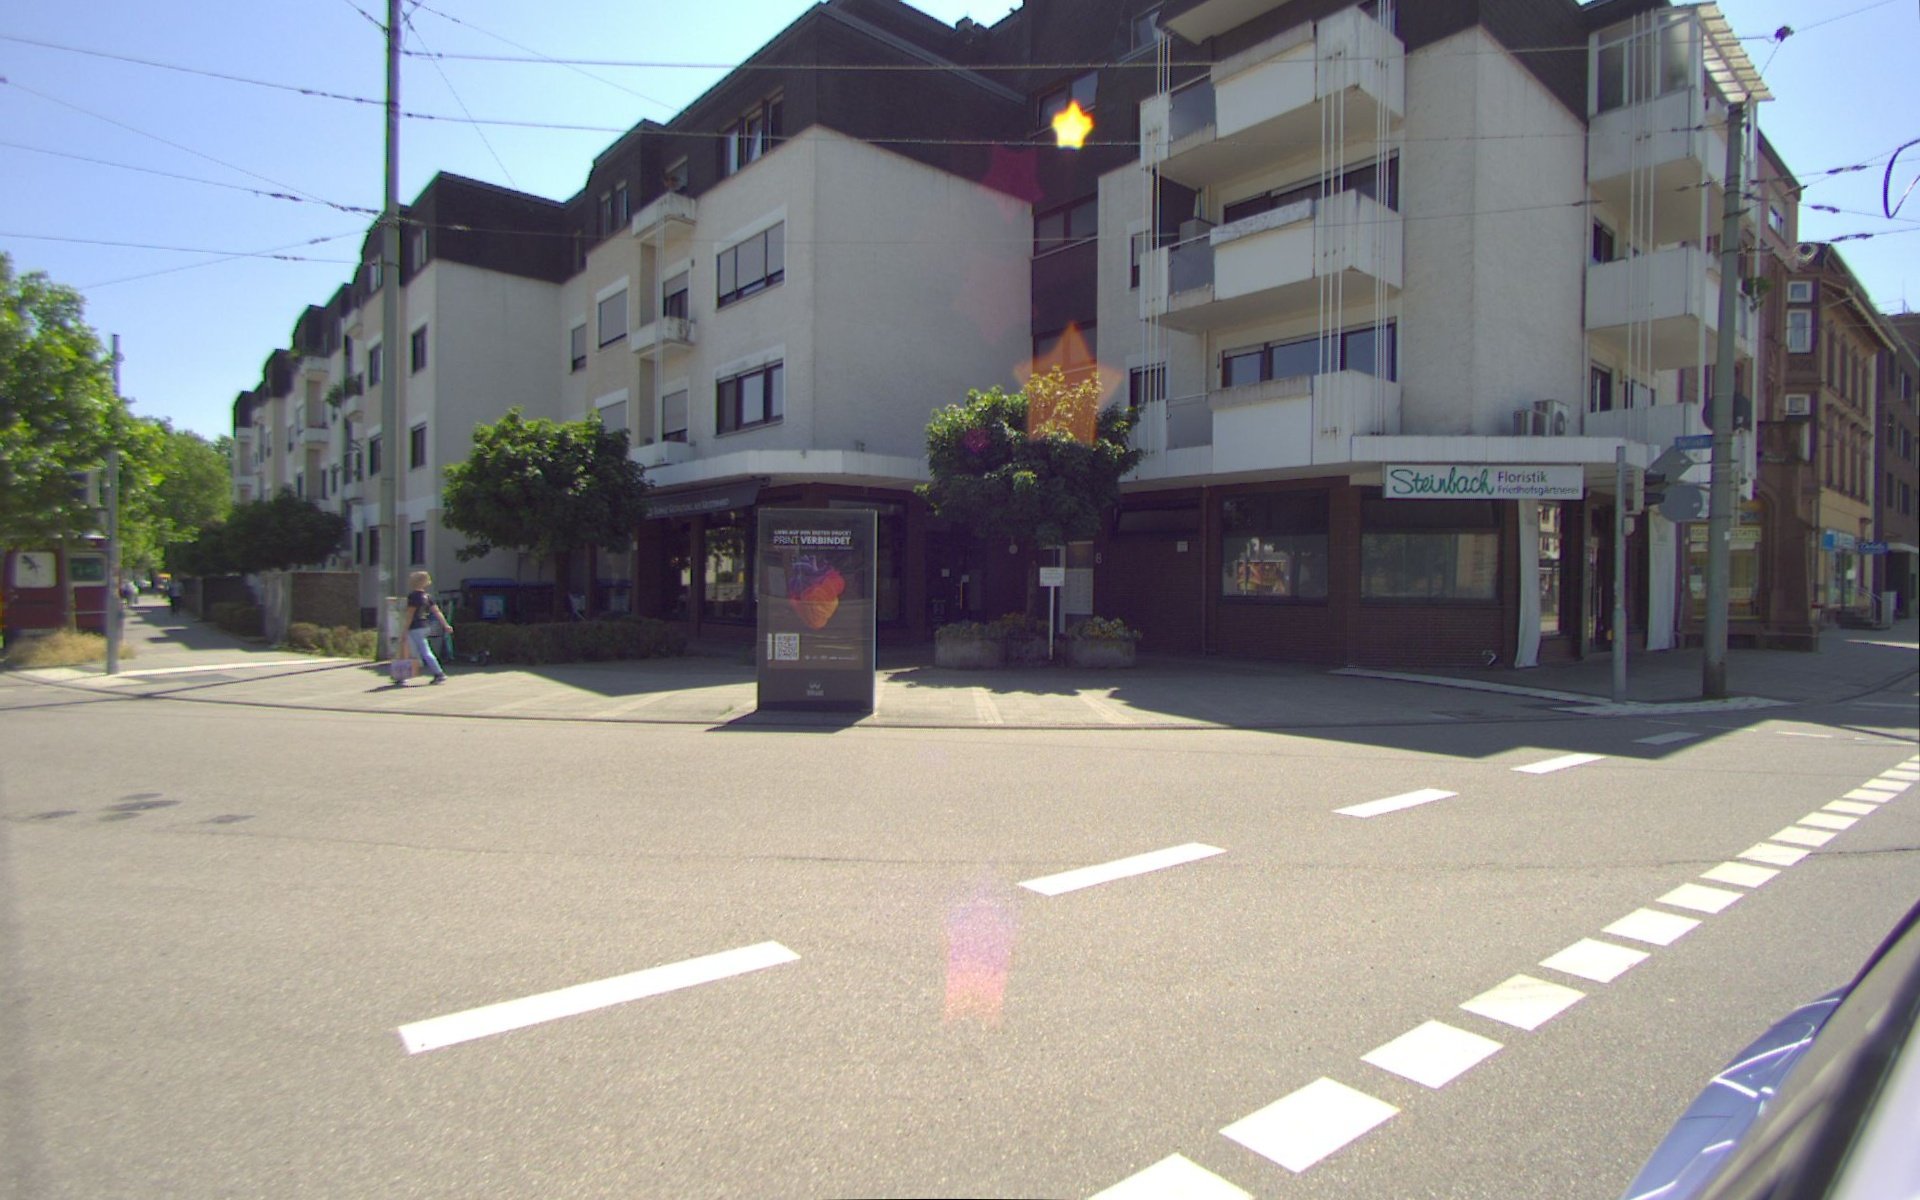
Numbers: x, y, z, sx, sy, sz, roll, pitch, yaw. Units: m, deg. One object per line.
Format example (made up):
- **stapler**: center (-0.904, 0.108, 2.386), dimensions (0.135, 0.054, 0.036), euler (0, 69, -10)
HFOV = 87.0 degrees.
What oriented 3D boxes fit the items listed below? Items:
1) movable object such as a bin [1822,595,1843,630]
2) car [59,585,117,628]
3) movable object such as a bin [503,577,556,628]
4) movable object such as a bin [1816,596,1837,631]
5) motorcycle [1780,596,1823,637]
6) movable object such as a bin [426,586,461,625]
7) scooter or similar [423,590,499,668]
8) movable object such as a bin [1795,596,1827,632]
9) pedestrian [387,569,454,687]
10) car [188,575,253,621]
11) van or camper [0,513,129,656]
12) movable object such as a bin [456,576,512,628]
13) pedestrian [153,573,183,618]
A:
- **movable object such as a bin**: center (27.648, 0.395, 32.067), dimensions (0.646, 1.061, 0.375), euler (0, 3, -41)
- **car**: center (-30.045, 0.202, 34.938), dimensions (1.426, 1.398, 3.359), euler (0, 1, -39)
- **movable object such as a bin**: center (-12.220, 0.059, 28.726), dimensions (1.045, 1.424, 1.320), euler (0, 0, -42)
- **movable object such as a bin**: center (27.136, 0.408, 31.685), dimensions (0.549, 1.061, 0.375), euler (0, 3, -41)
- **motorcycle**: center (24.279, 0.463, 29.189), dimensions (1.845, 1.164, 0.528), euler (0, 0, -37)
- **movable object such as a bin**: center (-14.024, 0.142, 27.483), dimensions (0.701, 1.060, 0.743), euler (0, 0, -42)
- **scooter or similar**: center (-8.082, 0.452, 16.381), dimensions (1.241, 1.228, 0.391), euler (0, 0, 24)
- **movable object such as a bin**: center (26.480, 0.425, 31.477), dimensions (0.549, 1.061, 0.649), euler (0, 3, -41)
- **pedestrian**: center (-7.601, 0.374, 14.280), dimensions (0.809, 1.603, 0.830), euler (0, 0, -27)
- **car**: center (-27.270, -0.097, 37.284), dimensions (1.625, 1.629, 3.646), euler (0, 1, -42)
- **van or camper**: center (-19.918, -0.325, 22.378), dimensions (2.170, 2.800, 5.231), euler (1, 0, -41)
- **movable object such as a bin**: center (-13.182, 0.046, 28.027), dimensions (1.174, 1.424, 1.058), euler (0, 0, -42)
- **pedestrian**: center (-32.907, -0.198, 42.048), dimensions (0.911, 1.854, 1.075), euler (0, 0, -41)
